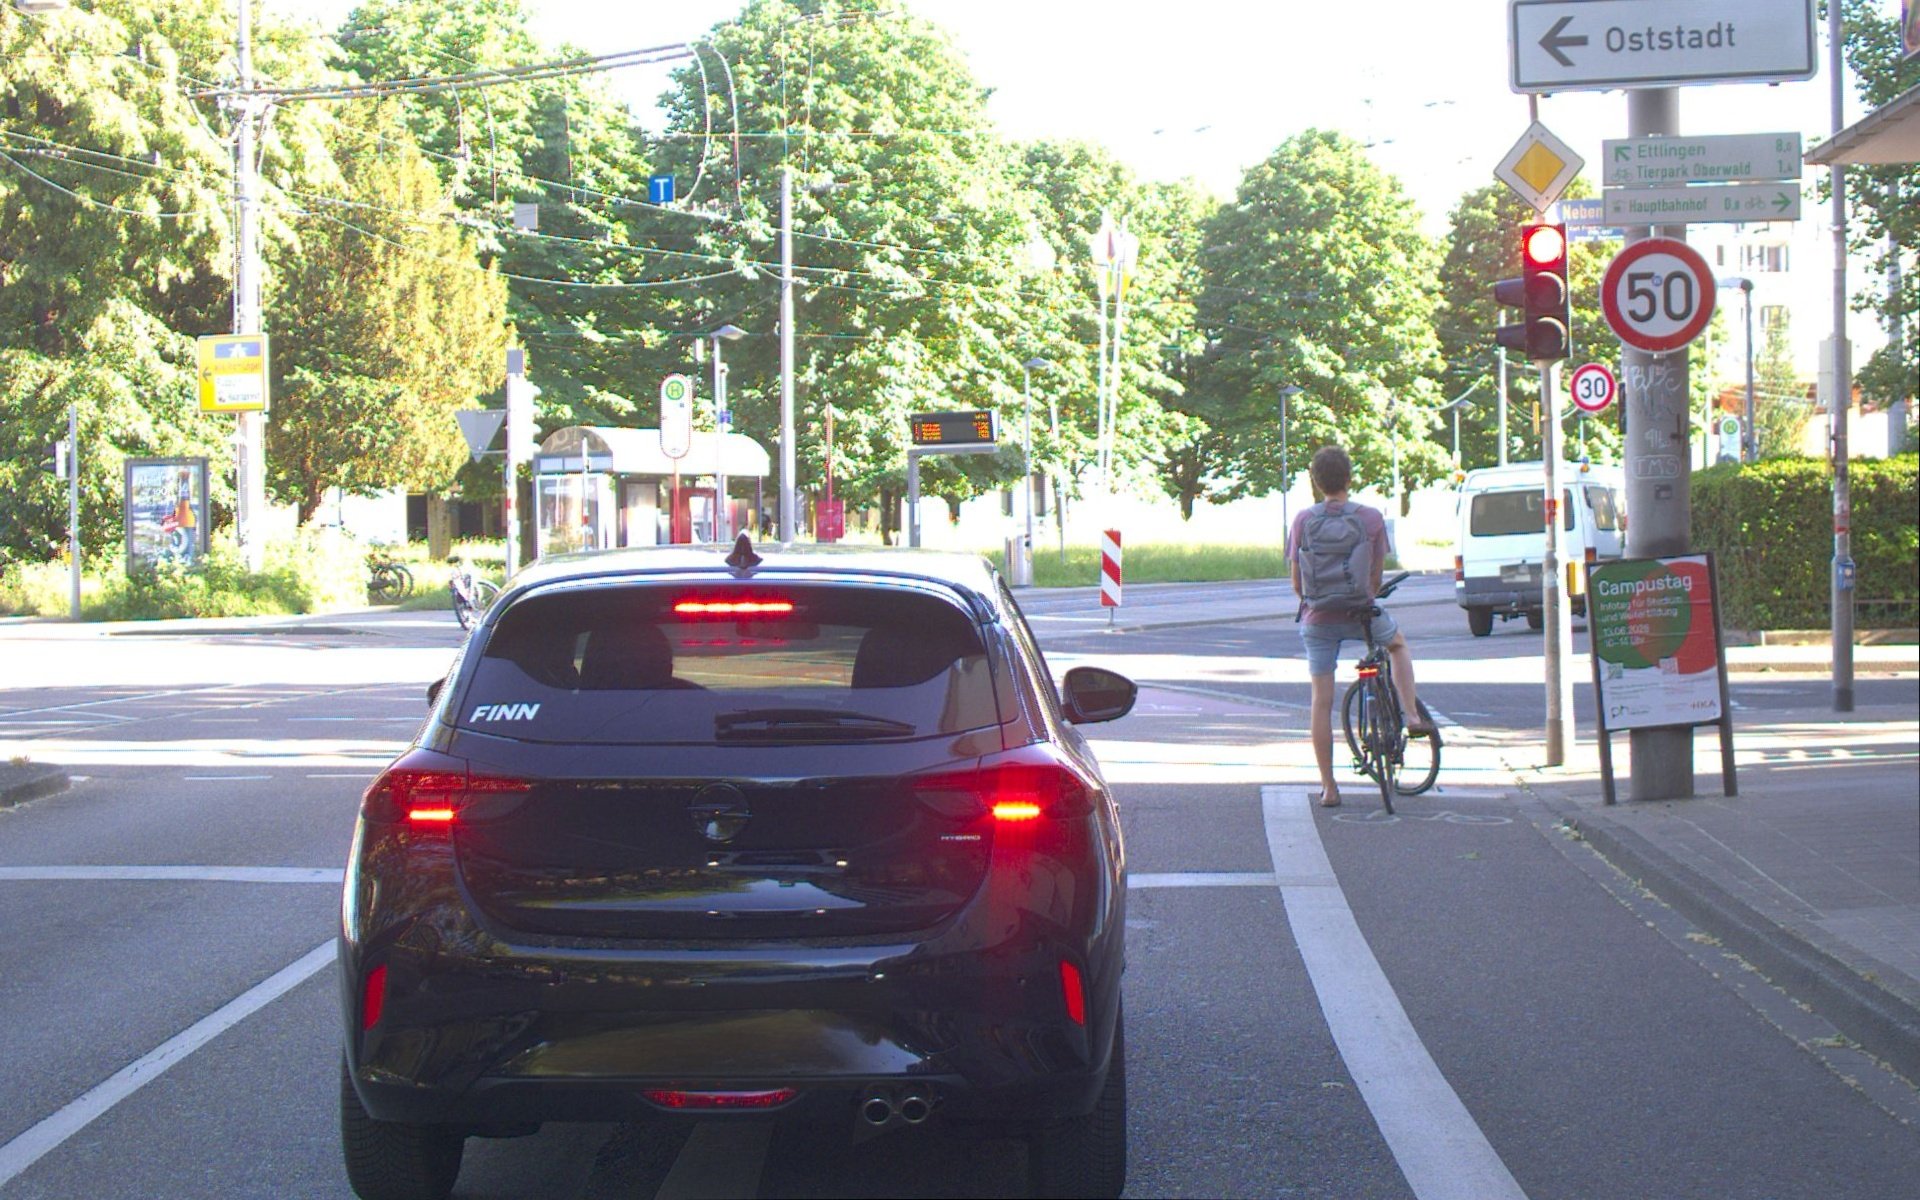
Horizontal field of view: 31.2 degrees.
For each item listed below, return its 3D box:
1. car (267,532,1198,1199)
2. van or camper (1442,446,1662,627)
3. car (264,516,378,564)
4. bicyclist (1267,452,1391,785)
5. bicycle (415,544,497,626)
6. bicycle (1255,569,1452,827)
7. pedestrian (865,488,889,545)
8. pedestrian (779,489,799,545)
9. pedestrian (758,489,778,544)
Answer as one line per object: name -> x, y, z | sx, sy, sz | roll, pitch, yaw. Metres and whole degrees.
car -> -0.474, 0.565, 8.807 | 1.840, 1.457, 3.984 | 0, 1, -1
van or camper -> 8.017, -0.839, 46.231 | 2.031, 2.302, 4.535 | 1, 1, 21
car -> -21.745, -2.038, 116.921 | 3.535, 1.564, 1.547 | 1, 1, -23
bicyclist -> 1.912, 0.086, 17.771 | 0.534, 1.686, 0.567 | 0, 1, 17
bicycle -> -6.823, -0.222, 46.639 | 0.796, 1.061, 2.185 | 0, 1, -1
bicycle -> 2.076, 0.471, 17.918 | 0.753, 1.231, 2.014 | 0, 1, 14
pedestrian -> -2.732, -2.735, 112.814 | 0.603, 1.865, 0.519 | 1, 0, -28
pedestrian -> -5.753, -2.799, 115.555 | 0.603, 1.865, 0.519 | 1, 0, -6
pedestrian -> -6.477, -2.812, 115.844 | 0.603, 1.865, 0.519 | 1, 0, -6
